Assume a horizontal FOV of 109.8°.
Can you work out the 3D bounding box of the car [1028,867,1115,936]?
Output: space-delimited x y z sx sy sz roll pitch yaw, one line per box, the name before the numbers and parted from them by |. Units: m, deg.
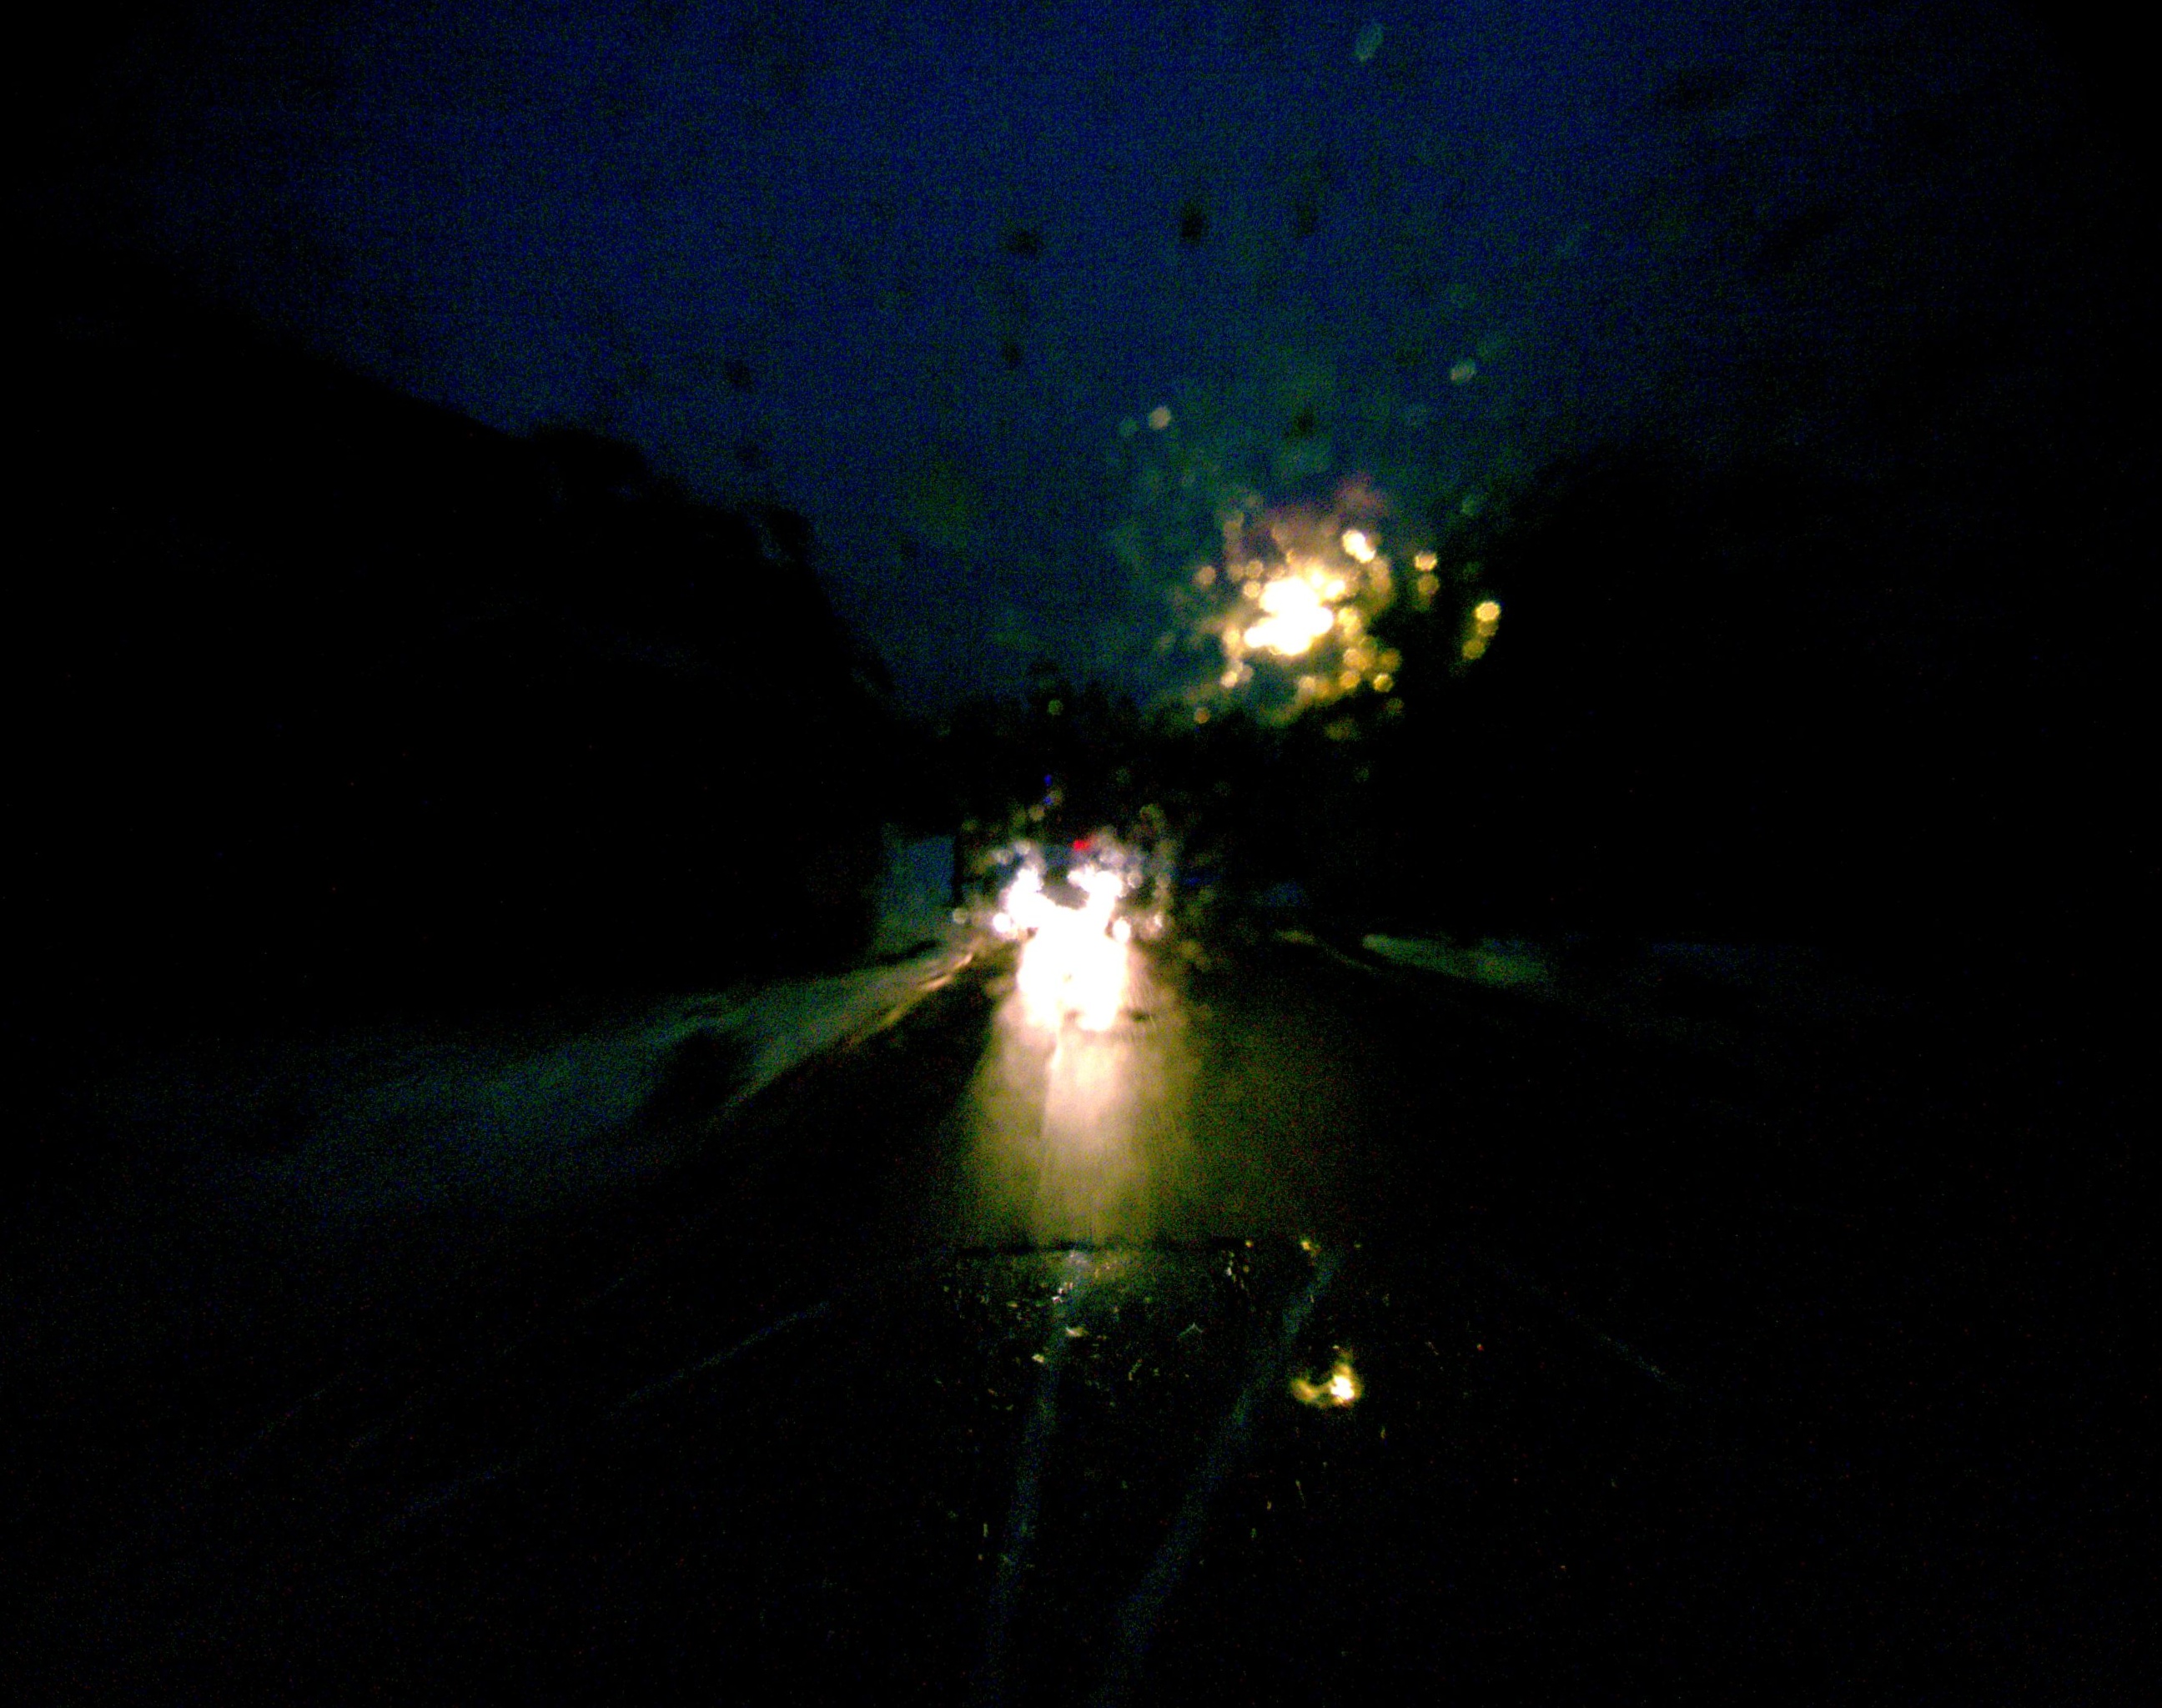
car | -0.132 1.082 18.642 1.649 1.446 3.682 -1 0 6
